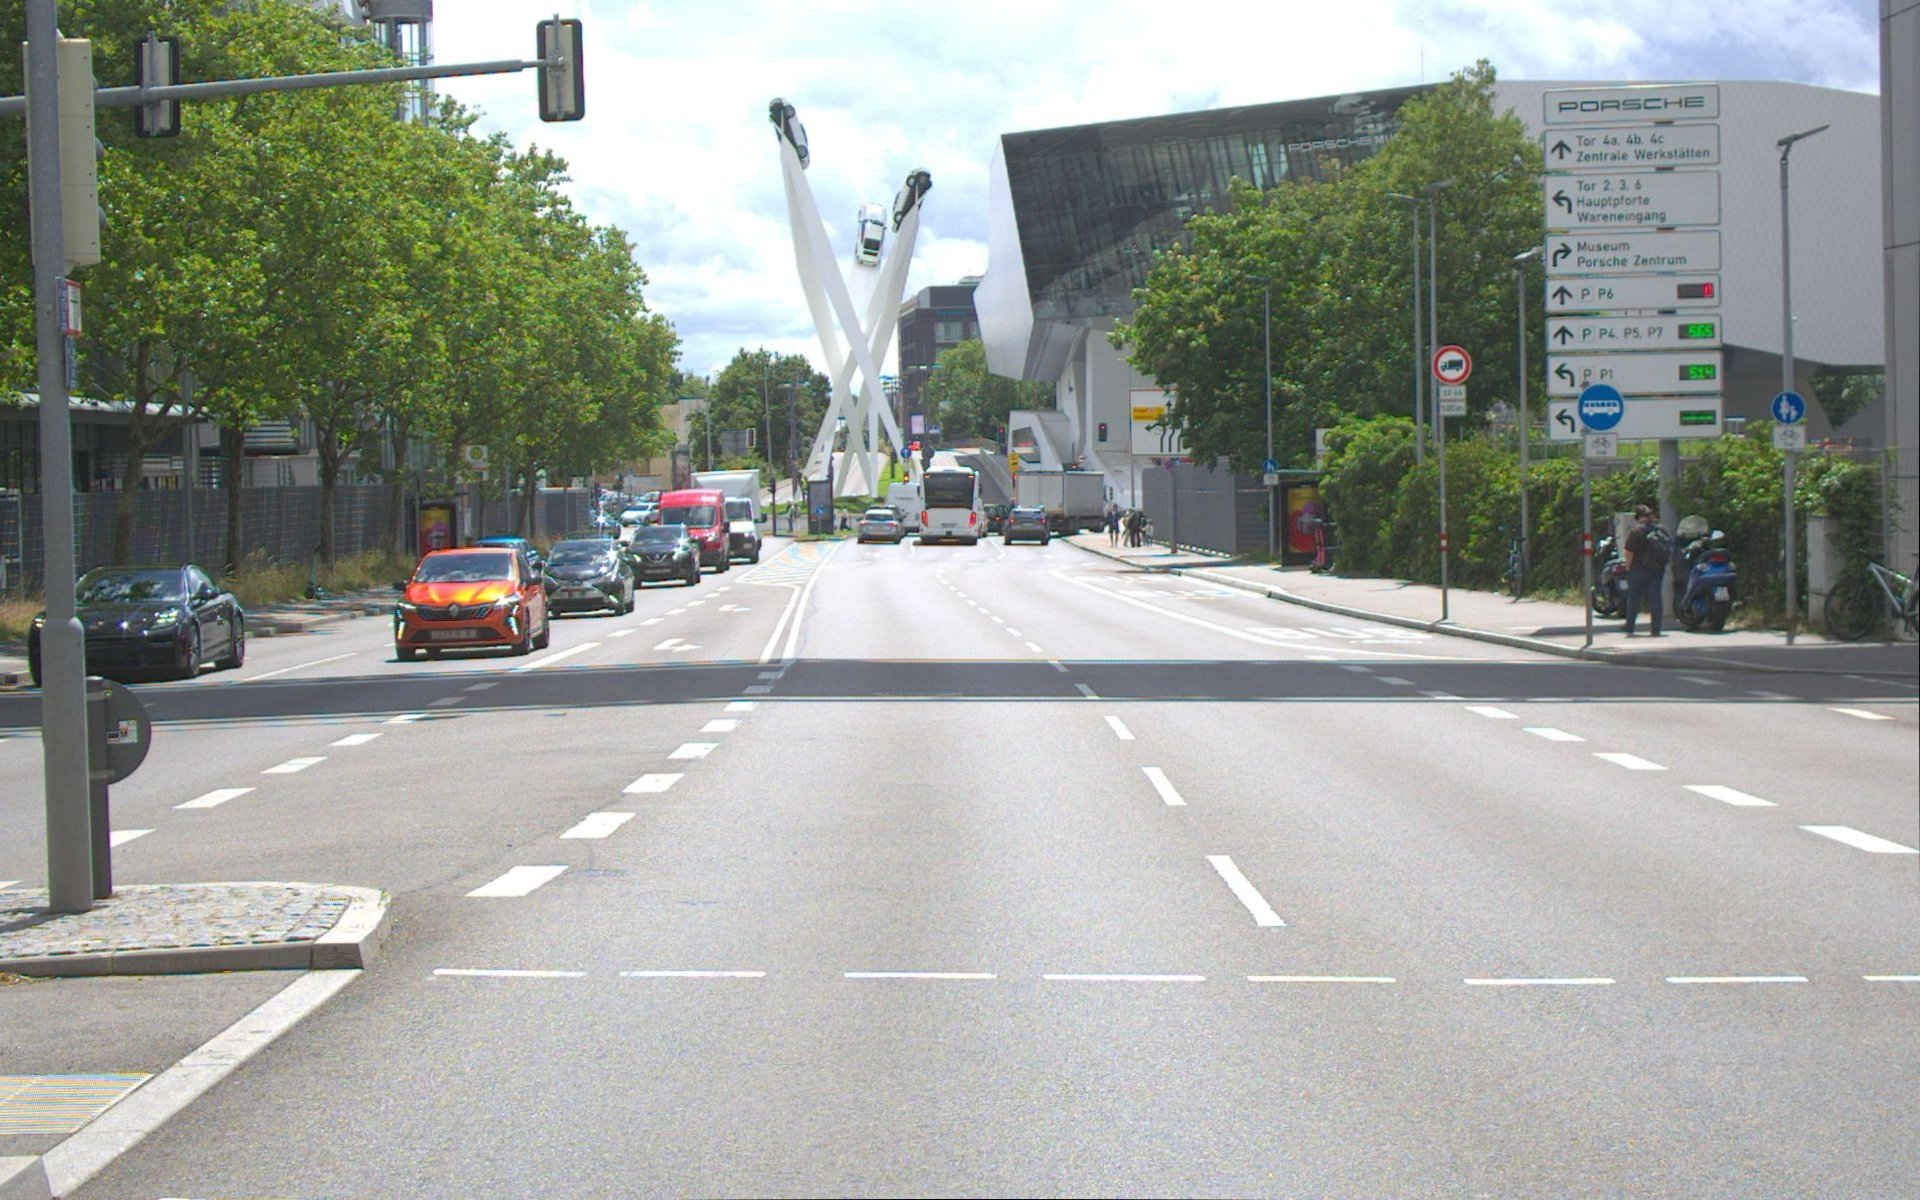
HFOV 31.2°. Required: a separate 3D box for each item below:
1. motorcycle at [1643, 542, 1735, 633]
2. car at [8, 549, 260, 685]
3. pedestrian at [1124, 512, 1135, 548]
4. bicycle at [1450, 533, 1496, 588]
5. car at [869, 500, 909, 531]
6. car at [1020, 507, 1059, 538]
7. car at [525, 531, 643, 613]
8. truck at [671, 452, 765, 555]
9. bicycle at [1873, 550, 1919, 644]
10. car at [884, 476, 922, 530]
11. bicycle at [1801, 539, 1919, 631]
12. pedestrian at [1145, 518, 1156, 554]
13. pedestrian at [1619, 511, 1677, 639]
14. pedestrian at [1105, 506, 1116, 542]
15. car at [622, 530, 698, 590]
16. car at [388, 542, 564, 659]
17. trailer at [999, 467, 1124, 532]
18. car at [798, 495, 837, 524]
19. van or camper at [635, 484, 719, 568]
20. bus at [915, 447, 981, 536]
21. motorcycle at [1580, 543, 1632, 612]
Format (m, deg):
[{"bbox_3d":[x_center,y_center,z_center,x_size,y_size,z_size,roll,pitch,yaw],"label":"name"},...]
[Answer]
[{"bbox_3d":[9.541,-0.168,45.032,0.418,1.162,1.957,1,1,-11],"label":"motorcycle"},{"bbox_3d":[-10.233,0.166,42.954,1.917,1.483,4.772,-3,1,0],"label":"car"},{"bbox_3d":[6.578,-2.712,133.371,0.386,1.416,0.423,1,0,0],"label":"pedestrian"},{"bbox_3d":[9.734,-0.746,65.272,0.418,1.019,1.913,1,1,-5],"label":"bicycle"},{"bbox_3d":[-3.054,-3.646,148.722,1.557,1.269,3.701,-3,1,1],"label":"car"},{"bbox_3d":[3.373,-3.298,146.232,1.557,1.269,3.701,-3,1,1],"label":"car"},{"bbox_3d":[-7.094,-0.552,65.187,1.769,1.415,3.701,-3,1,0],"label":"car"},{"bbox_3d":[-8.089,-3.193,115.640,2.591,3.312,7.079,1,1,0],"label":"truck"},{"bbox_3d":[11.687,-0.020,39.592,2.222,1.083,0.476,1,1,35],"label":"bicycle"},{"bbox_3d":[-2.832,-4.817,171.192,1.843,2.614,4.000,1,1,-1],"label":"car"},{"bbox_3d":[11.165,-0.178,40.877,2.222,1.083,0.476,1,1,35],"label":"bicycle"},{"bbox_3d":[7.403,-2.486,133.376,0.386,1.416,0.423,1,0,0],"label":"pedestrian"},{"bbox_3d":[8.873,-0.320,44.356,0.533,1.635,0.658,1,0,-6],"label":"pedestrian"},{"bbox_3d":[5.974,-3.013,136.478,0.386,1.416,0.423,1,0,0],"label":"pedestrian"},{"bbox_3d":[-7.710,-1.053,88.654,1.557,1.443,3.773,-3,1,0],"label":"car"},{"bbox_3d":[-6.445,-0.025,46.121,1.769,1.415,3.701,-3,1,0],"label":"car"},{"bbox_3d":[5.173,-4.987,172.085,3.322,2.984,10.366,1,1,19],"label":"trailer"},{"bbox_3d":[-6.455,-4.098,155.819,1.557,1.269,3.701,-3,1,0],"label":"car"},{"bbox_3d":[-8.490,-2.236,103.577,2.047,2.458,5.595,0,1,0],"label":"van or camper"},{"bbox_3d":[-0.491,-4.685,150.124,2.787,3.673,6.943,1,1,0],"label":"bus"},{"bbox_3d":[9.760,-0.347,52.015,0.457,1.019,1.912,1,1,1],"label":"motorcycle"}]
